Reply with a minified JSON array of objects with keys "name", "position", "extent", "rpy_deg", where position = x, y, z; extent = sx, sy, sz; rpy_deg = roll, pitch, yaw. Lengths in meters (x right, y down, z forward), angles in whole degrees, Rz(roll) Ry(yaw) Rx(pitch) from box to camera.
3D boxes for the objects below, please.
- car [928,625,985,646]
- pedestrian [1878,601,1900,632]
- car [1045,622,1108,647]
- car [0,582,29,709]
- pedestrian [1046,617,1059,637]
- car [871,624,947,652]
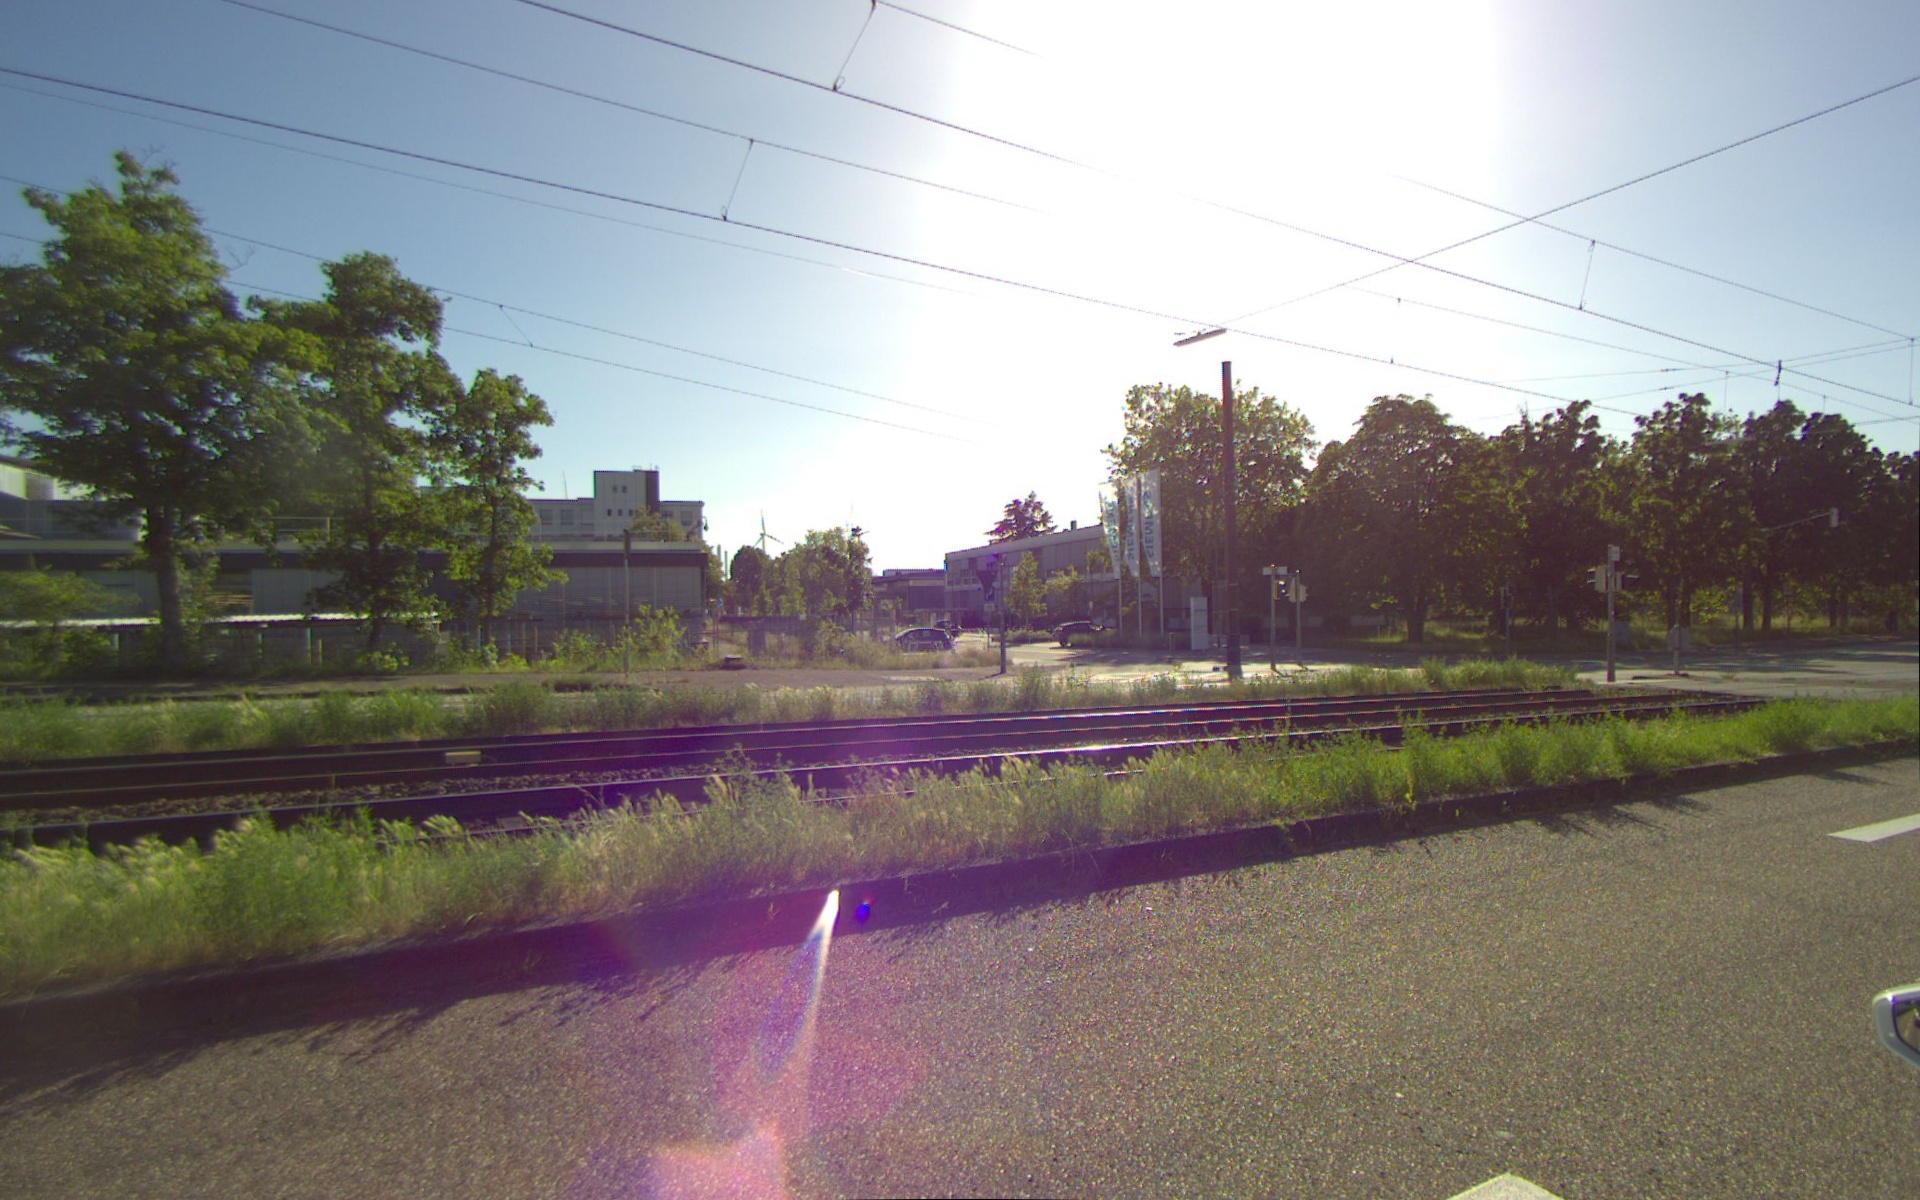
[{"name":"car","position":[-0.260,2.626,74.554],"extent":[3.893,1.471,1.688],"rpy_deg":[0,0,-21]},{"name":"pedestrian","position":[61.519,1.083,66.518],"extent":[0.853,2.040,0.835],"rpy_deg":[0,0,-31]},{"name":"car","position":[7.462,2.218,64.451],"extent":[3.818,1.508,1.682],"rpy_deg":[0,0,-31]},{"name":"car","position":[-16.521,0.658,14.010],"extent":[4.731,1.916,2.188],"rpy_deg":[1,0,-28]},{"name":"pedestrian","position":[7.438,2.171,80.816],"extent":[0.810,1.549,0.762],"rpy_deg":[0,0,-17]},{"name":"car","position":[-2.787,2.043,54.474],"extent":[3.806,1.453,1.688],"rpy_deg":[0,0,-23]}]
